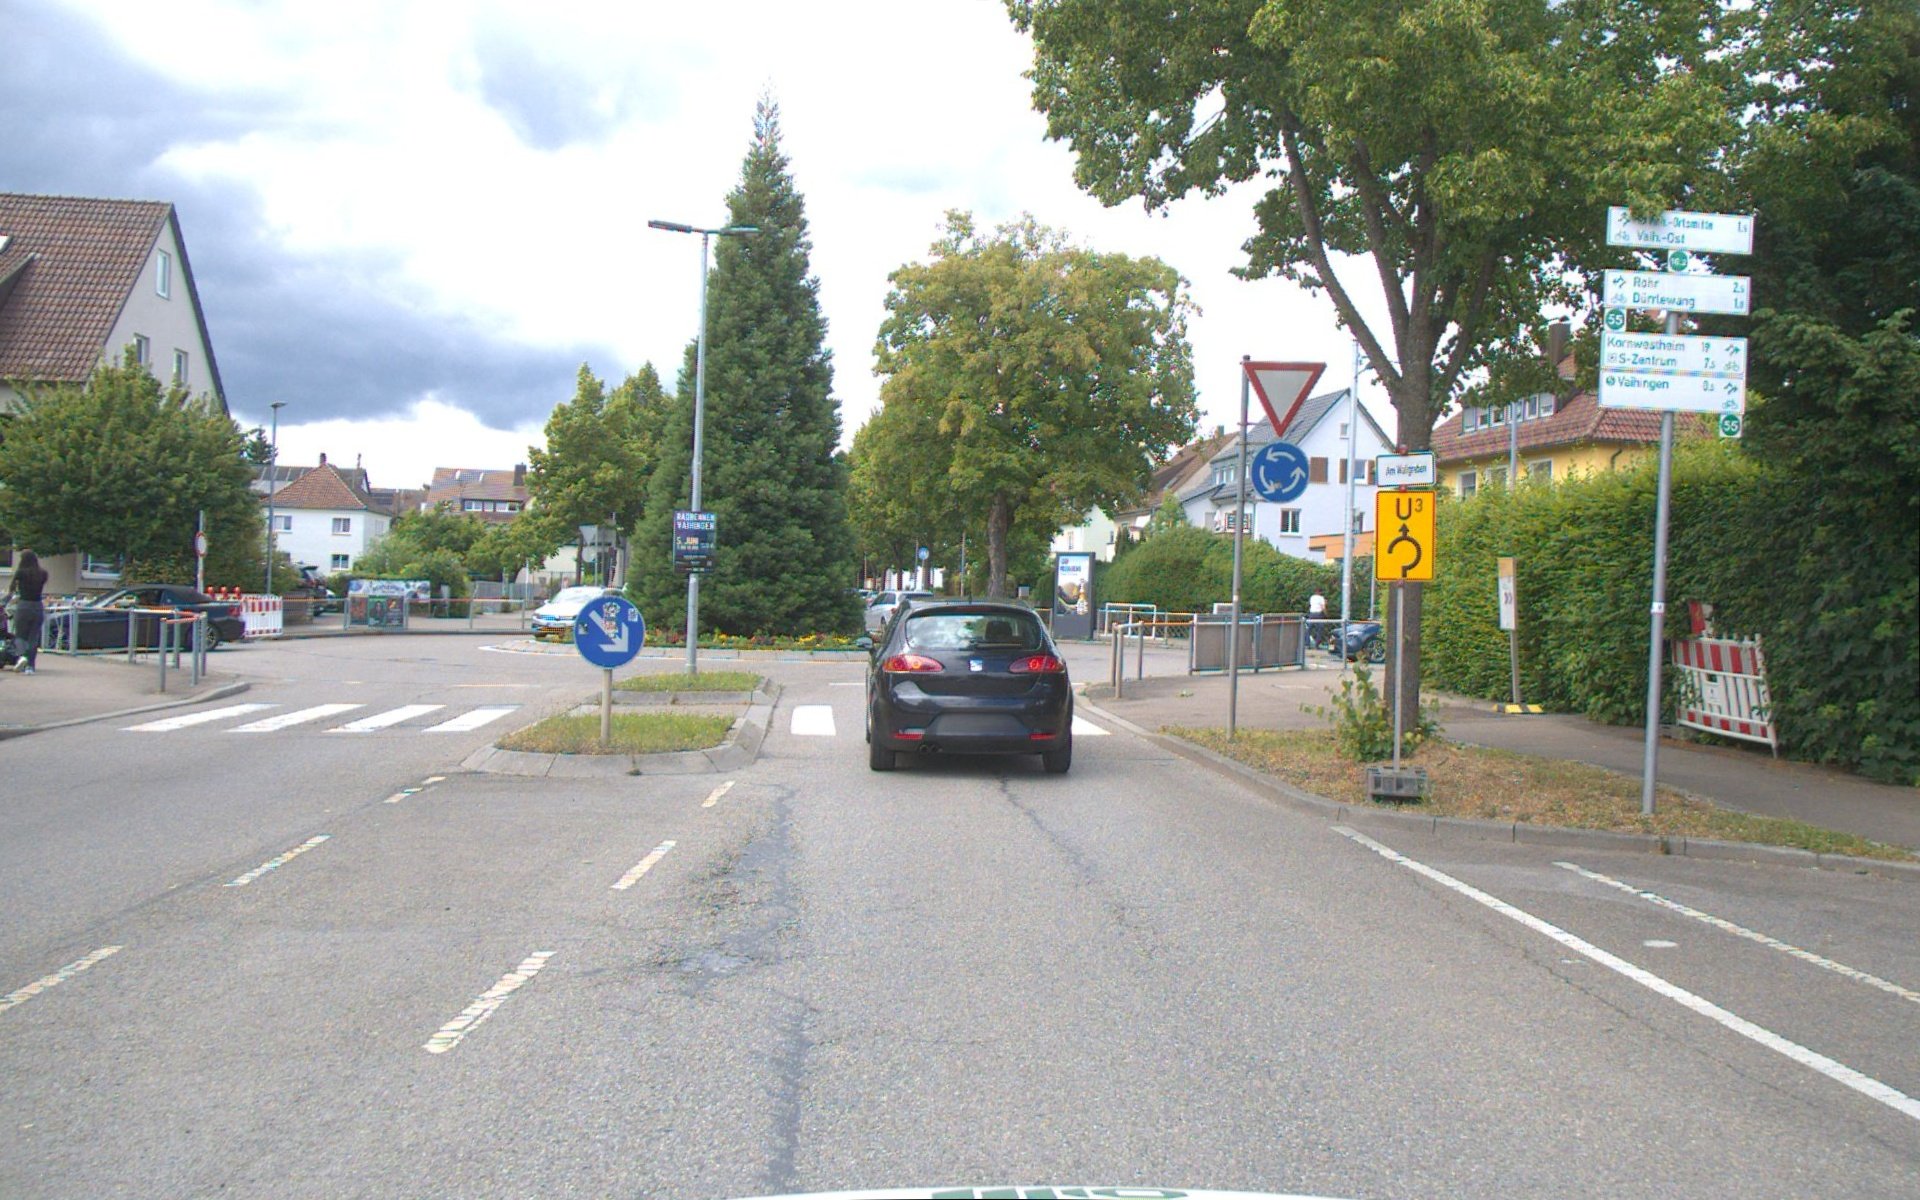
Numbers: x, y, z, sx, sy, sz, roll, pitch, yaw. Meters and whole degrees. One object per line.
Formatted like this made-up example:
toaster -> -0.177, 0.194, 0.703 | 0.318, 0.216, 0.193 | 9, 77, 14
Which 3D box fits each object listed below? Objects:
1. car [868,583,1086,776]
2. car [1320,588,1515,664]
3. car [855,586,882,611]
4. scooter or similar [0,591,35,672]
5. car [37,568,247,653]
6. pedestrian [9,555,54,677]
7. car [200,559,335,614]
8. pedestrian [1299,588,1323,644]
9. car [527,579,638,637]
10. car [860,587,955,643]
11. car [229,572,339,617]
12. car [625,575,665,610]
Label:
car -> 0.029, 0.620, 15.071 | 1.698, 1.512, 3.997 | 1, 0, -4
car -> 11.272, 0.626, 40.908 | 4.310, 1.690, 1.649 | 2, 0, -3
car -> -5.813, -0.116, 105.079 | 1.564, 1.536, 3.596 | 1, 0, -6
scooter or similar -> -13.736, 0.444, 23.891 | 0.403, 1.114, 0.955 | 4, -1, -41
car -> -16.910, 0.201, 34.287 | 1.547, 1.662, 3.596 | 1, 0, 45
pedestrian -> -13.153, 0.222, 23.422 | 0.478, 1.699, 0.509 | 1, 0, -37
car -> -21.616, -0.422, 51.718 | 3.515, 1.639, 1.600 | 1, 0, 0
pedestrian -> 10.021, 0.453, 47.234 | 0.482, 1.560, 0.483 | 1, 0, 36
car -> -10.926, 0.219, 48.165 | 1.829, 1.588, 4.263 | 1, 0, 7
car -> -1.689, 0.450, 51.932 | 1.962, 1.641, 3.981 | 2, 0, -18
car -> -21.898, -0.178, 53.621 | 2.979, 1.406, 1.339 | 1, 0, 0
car -> -18.846, -0.451, 99.032 | 1.991, 2.005, 3.995 | 1, 0, -6
